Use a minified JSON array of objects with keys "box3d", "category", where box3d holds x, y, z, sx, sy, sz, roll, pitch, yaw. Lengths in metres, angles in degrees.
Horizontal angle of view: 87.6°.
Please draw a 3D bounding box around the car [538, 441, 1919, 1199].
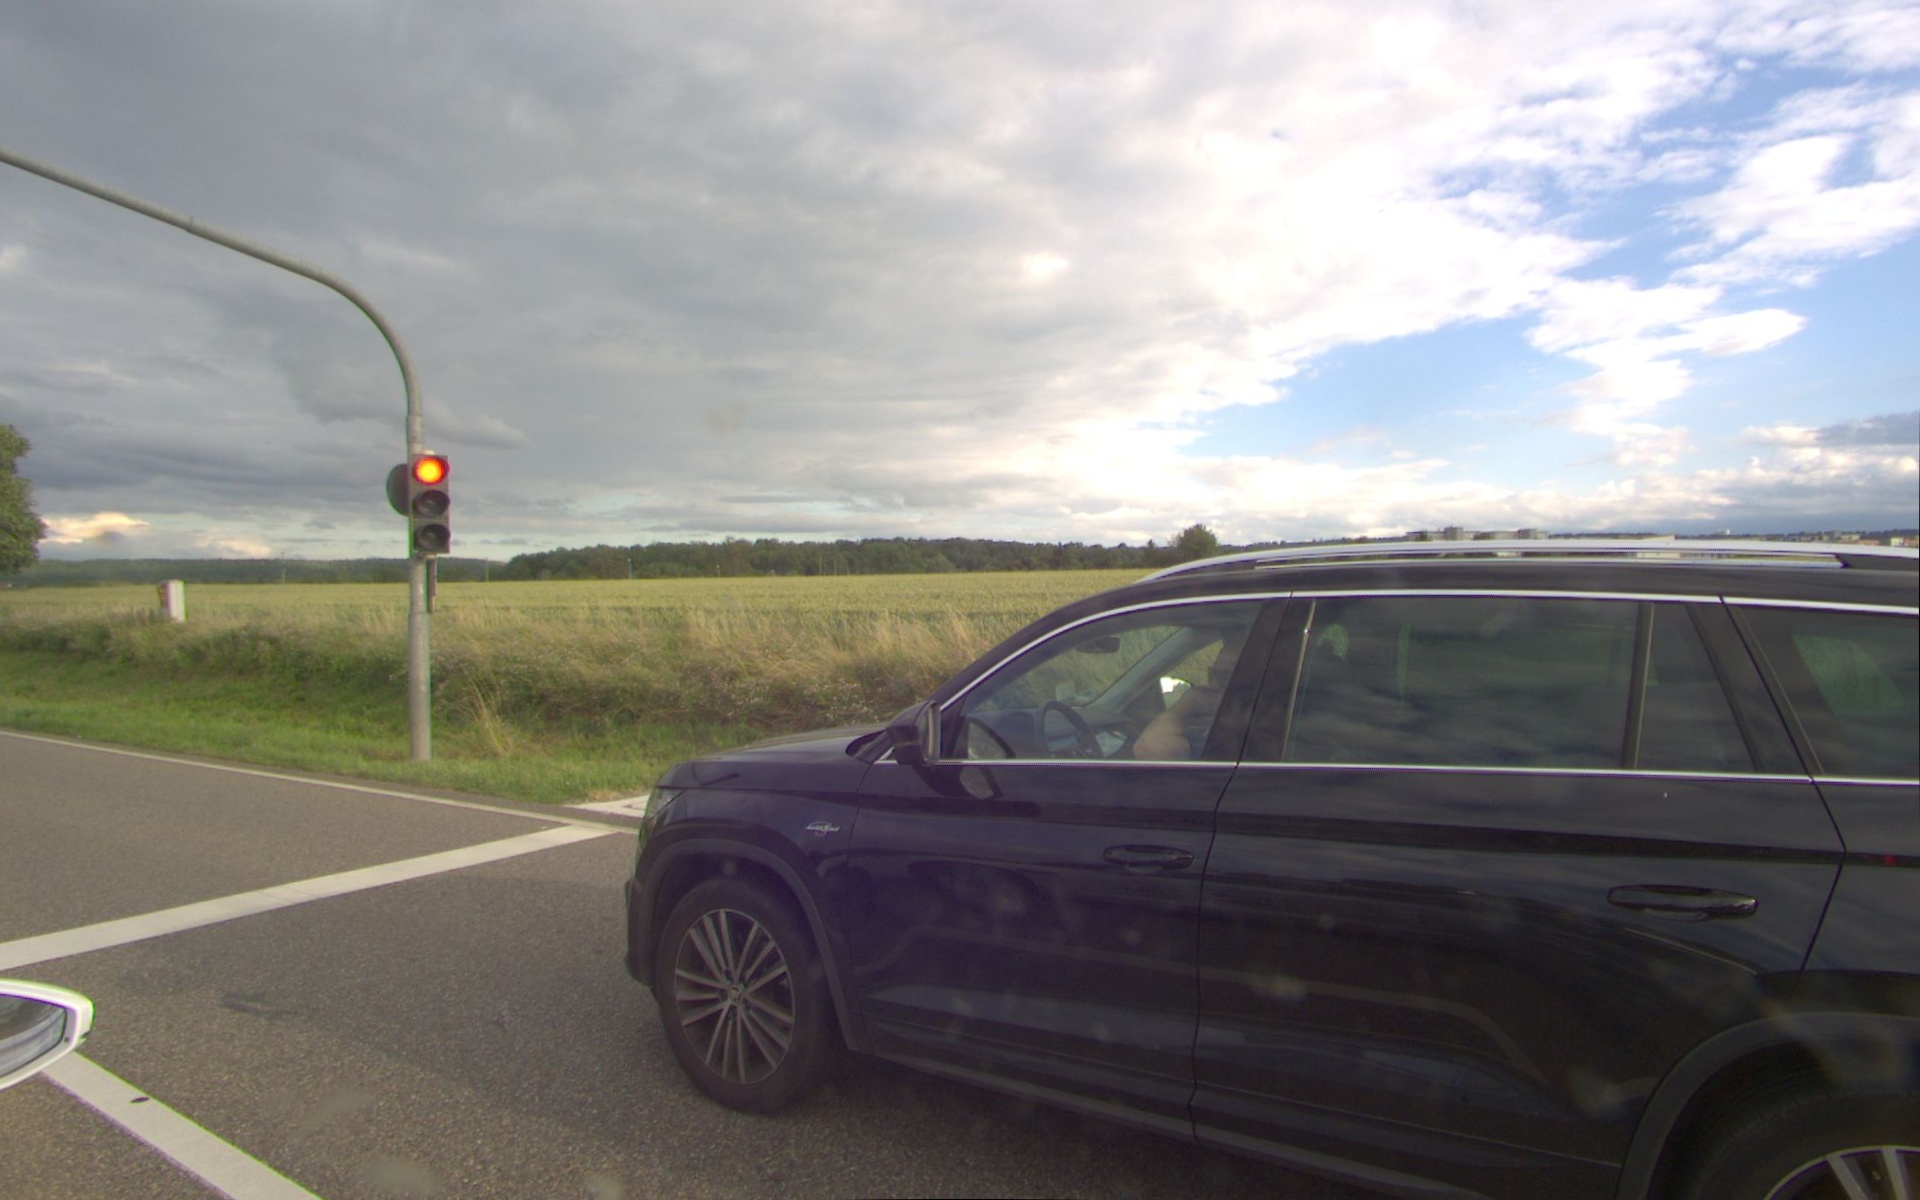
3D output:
[{"box3d":[0.897,0.670,3.087,4.492,1.730,1.833,-1,-2,32],"category":"car"}]
